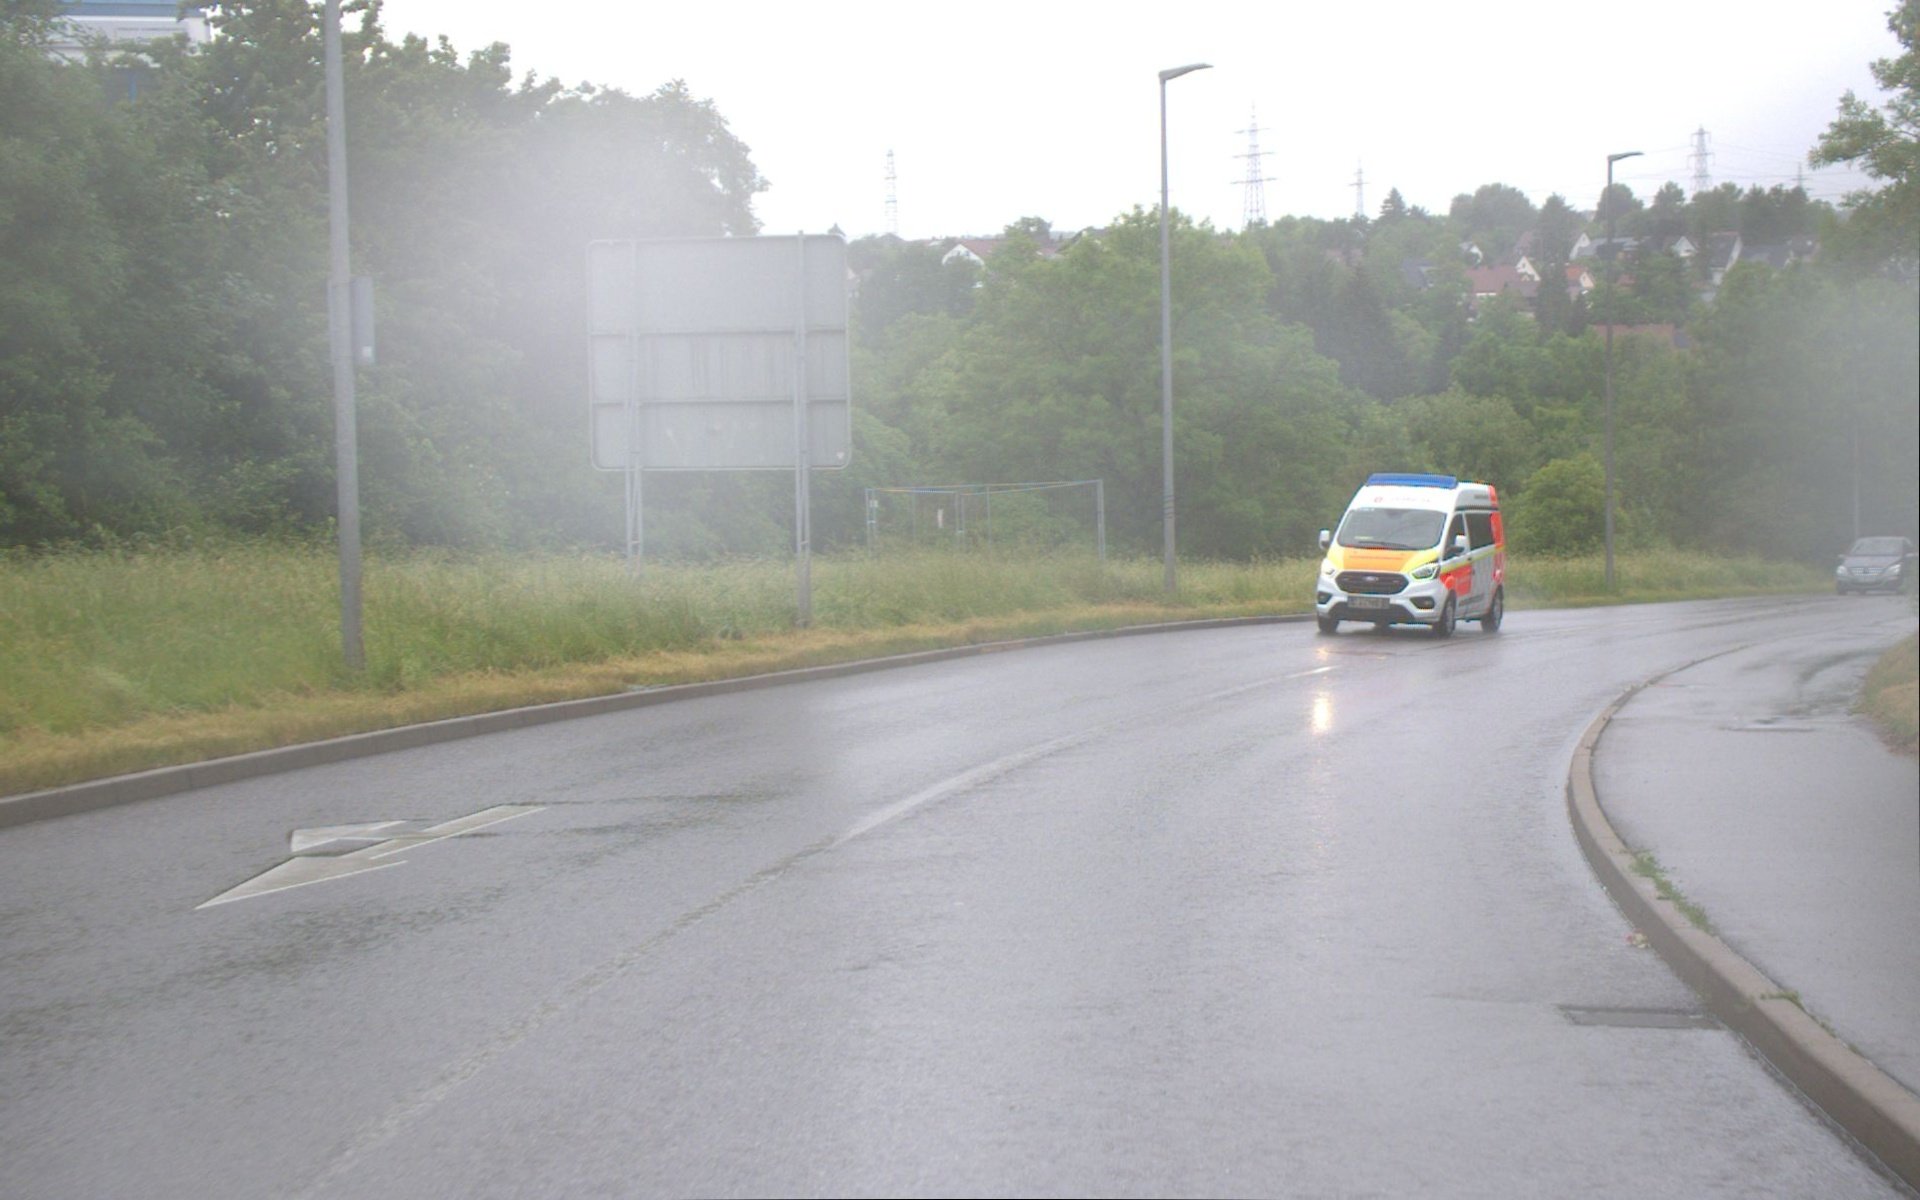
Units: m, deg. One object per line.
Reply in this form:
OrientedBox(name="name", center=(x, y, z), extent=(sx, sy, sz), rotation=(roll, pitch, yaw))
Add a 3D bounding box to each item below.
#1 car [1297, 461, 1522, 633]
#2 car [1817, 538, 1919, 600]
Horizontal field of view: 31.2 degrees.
OrientedBox(name="car", center=(6.911, -0.800, 52.283), extent=(2.047, 2.409, 5.449), rotation=(3, 2, 21))
OrientedBox(name="car", center=(24.510, -0.844, 92.370), extent=(1.867, 1.546, 4.259), rotation=(3, 2, 28))
